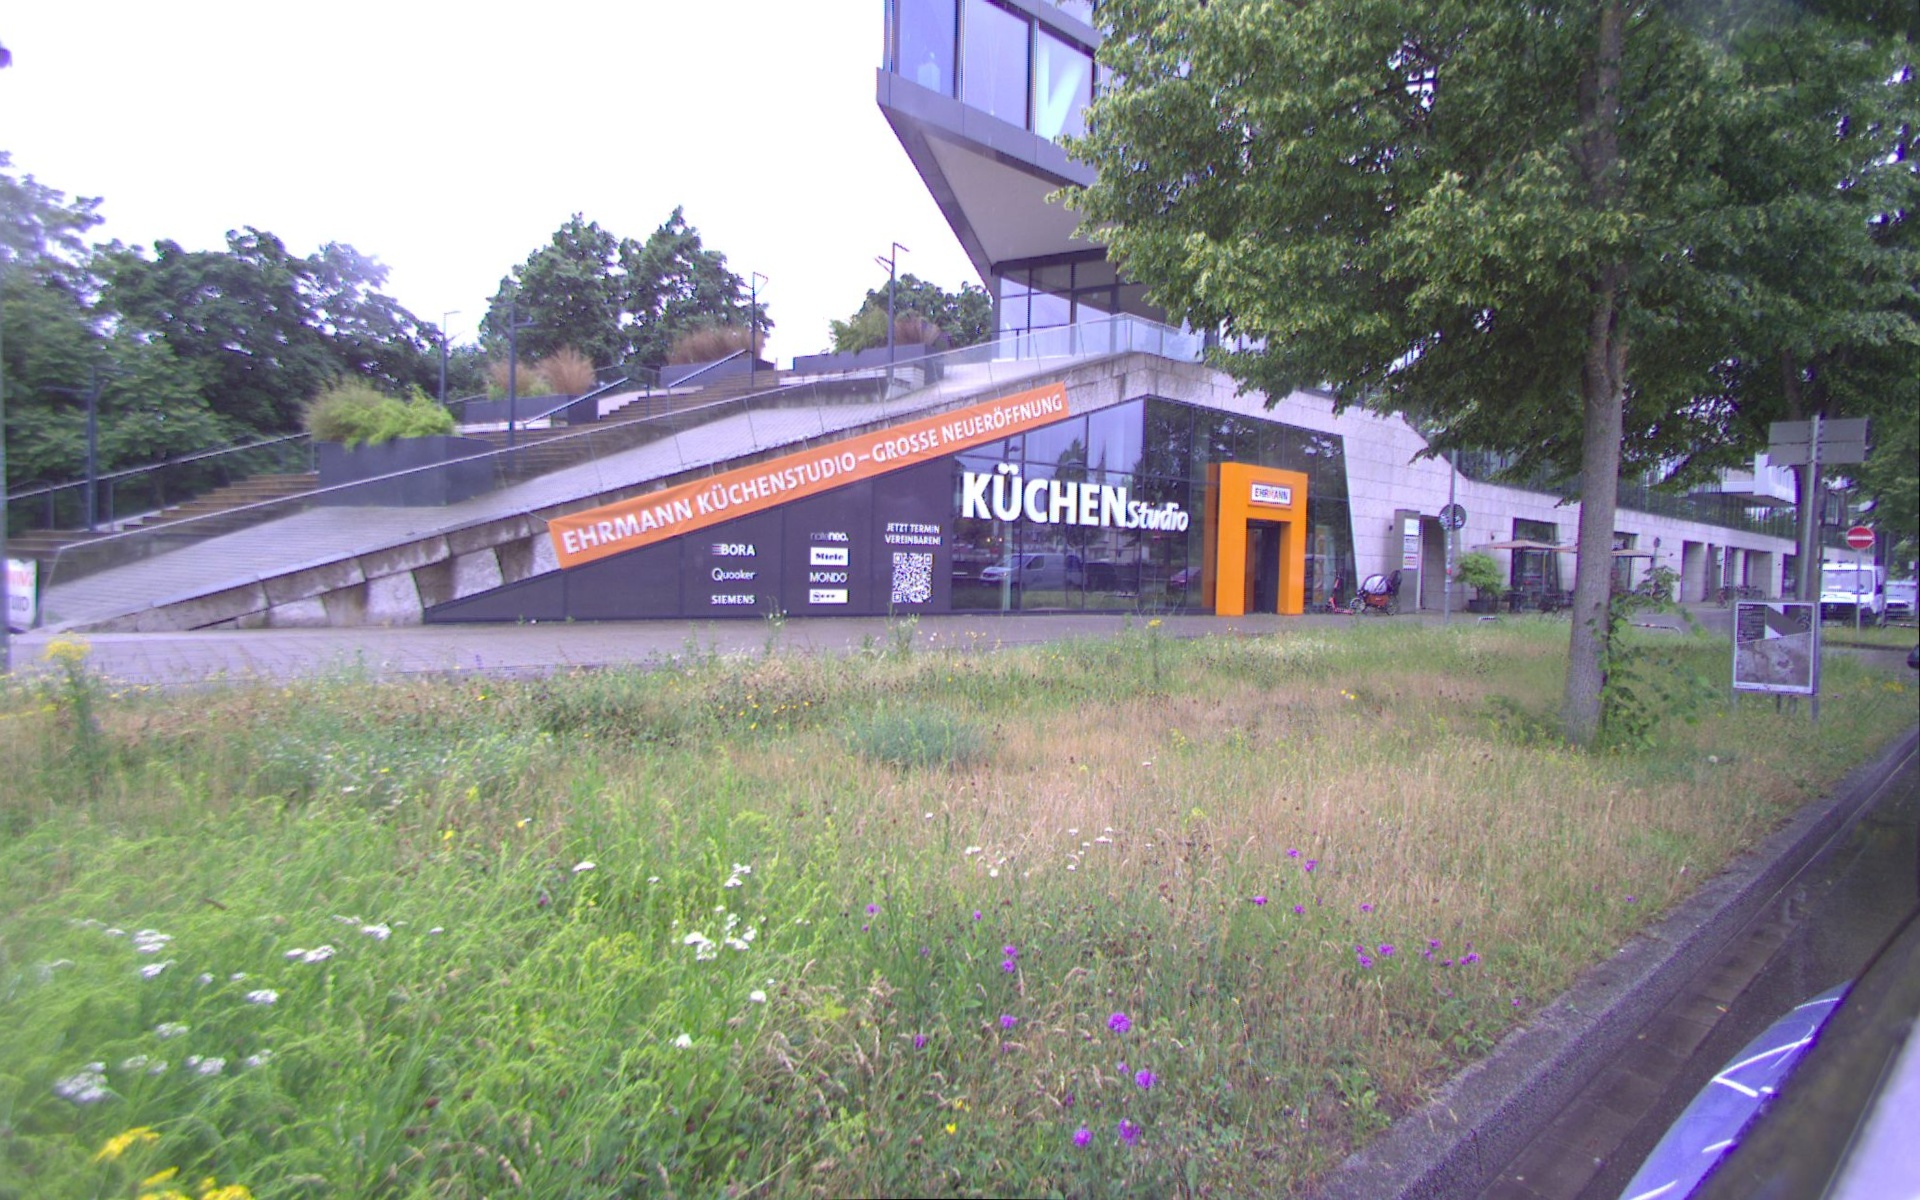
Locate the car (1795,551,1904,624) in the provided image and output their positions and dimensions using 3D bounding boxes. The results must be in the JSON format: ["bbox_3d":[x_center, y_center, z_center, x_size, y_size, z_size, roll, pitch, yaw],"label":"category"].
[{"bbox_3d":[29.601,-0.414,33.624,5.008,2.229,2.083,-1,0,-41],"label":"car"}]

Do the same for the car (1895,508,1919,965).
[{"bbox_3d":[5.918,0.568,4.656,4.306,1.769,1.915,1,-1,-41],"label":"car"}]

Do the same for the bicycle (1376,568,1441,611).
[{"bbox_3d":[14.536,-0.344,32.738,2.650,1.364,0.882,-1,0,-41],"label":"bicycle"}]

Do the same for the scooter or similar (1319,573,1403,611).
[{"bbox_3d":[12.276,-0.257,30.970,2.560,1.113,0.814,0,0,-23],"label":"scooter or similar"}]
